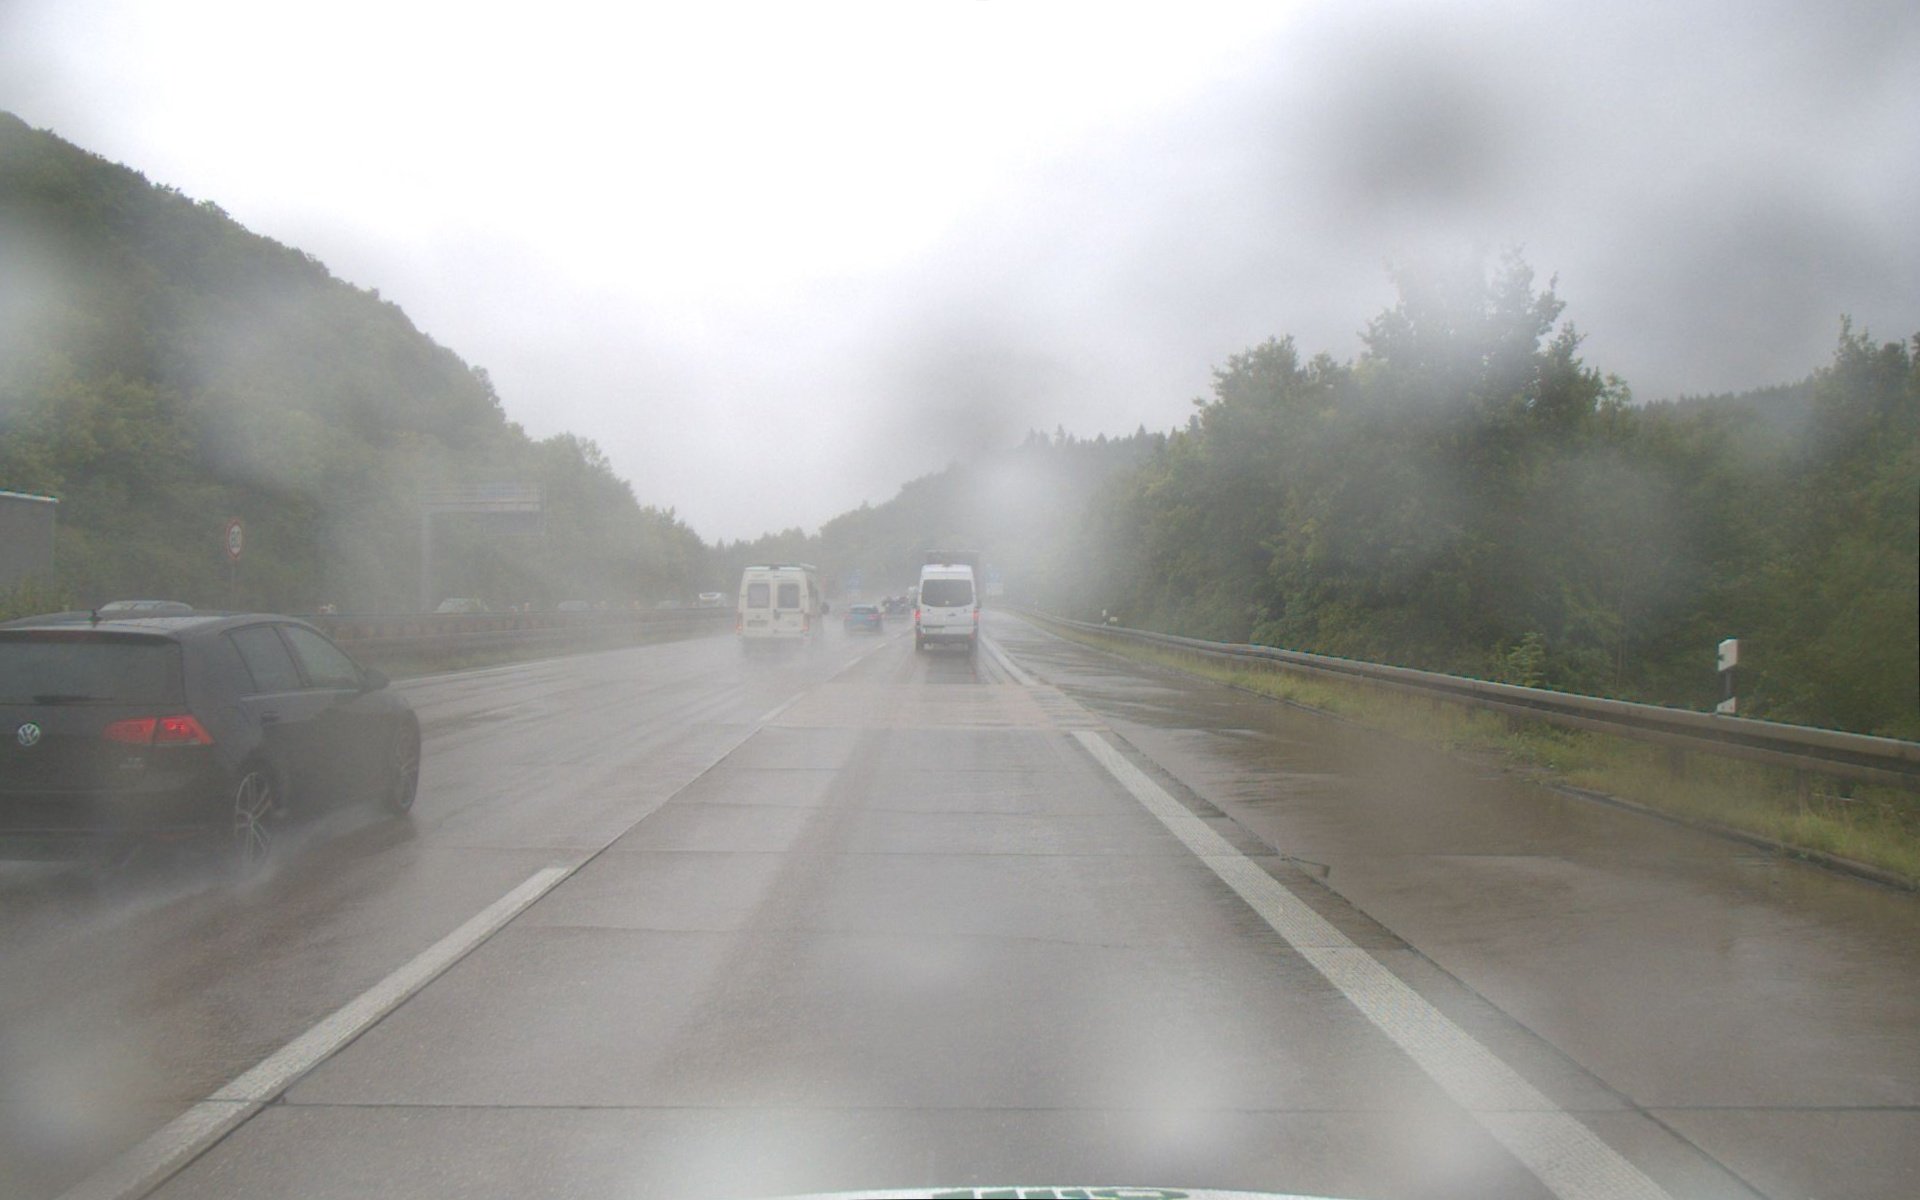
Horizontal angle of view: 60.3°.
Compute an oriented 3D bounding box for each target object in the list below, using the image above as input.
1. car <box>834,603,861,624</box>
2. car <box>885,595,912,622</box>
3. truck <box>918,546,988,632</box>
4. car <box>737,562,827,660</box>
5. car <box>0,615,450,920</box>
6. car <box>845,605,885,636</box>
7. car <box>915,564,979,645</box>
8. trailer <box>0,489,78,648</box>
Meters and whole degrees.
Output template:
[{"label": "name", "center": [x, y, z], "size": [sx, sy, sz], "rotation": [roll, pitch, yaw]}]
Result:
[{"label": "car", "center": [-8.127, 0.965, 119.708], "size": [1.819, 1.362, 4.348], "rotation": [2, 0, -4]}, {"label": "car", "center": [-4.309, 0.586, 115.967], "size": [1.831, 1.841, 4.187], "rotation": [2, 0, -2]}, {"label": "truck", "center": [-0.406, -0.655, 82.733], "size": [3.316, 4.037, 8.666], "rotation": [0, 2, -1]}, {"label": "car", "center": [-4.847, 0.289, 45.772], "size": [1.957, 2.474, 5.788], "rotation": [2, 0, -2]}, {"label": "car", "center": [-4.507, 0.804, 9.912], "size": [1.706, 1.412, 4.319], "rotation": [0, 0, -2]}, {"label": "car", "center": [-4.586, 0.953, 79.239], "size": [1.819, 1.362, 4.348], "rotation": [2, 0, -4]}, {"label": "car", "center": [-0.461, 0.136, 52.533], "size": [1.861, 2.374, 5.248], "rotation": [2, 0, -2]}, {"label": "trailer", "center": [-24.685, -0.817, 36.800], "size": [2.711, 3.868, 13.776], "rotation": [2, 0, 0]}]
